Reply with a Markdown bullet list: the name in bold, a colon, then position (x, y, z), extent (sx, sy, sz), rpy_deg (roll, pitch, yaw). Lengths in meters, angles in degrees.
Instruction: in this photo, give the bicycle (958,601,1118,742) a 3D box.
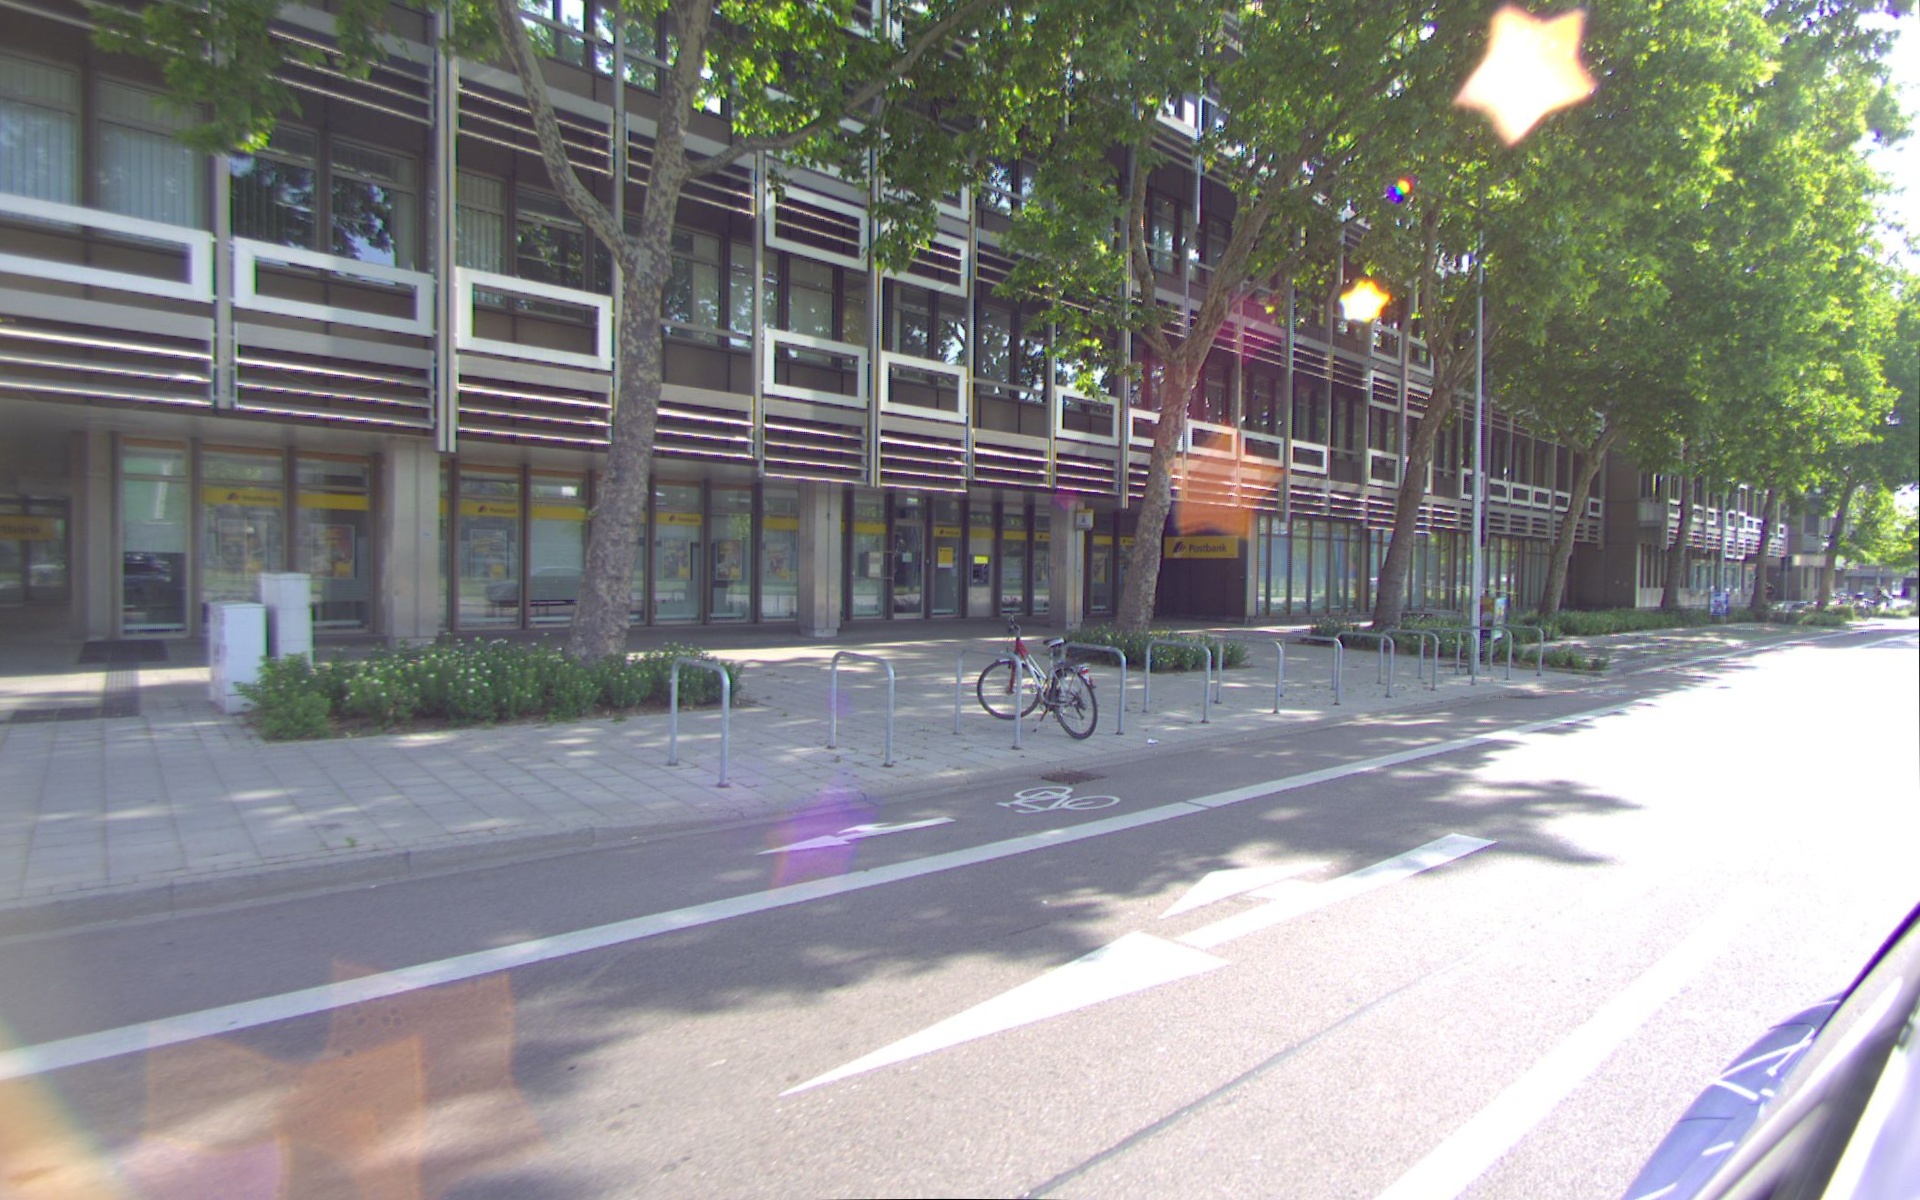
- **bicycle**: position (0.735, 0.656, 10.167), extent (0.527, 1.202, 1.834), rpy_deg (0, 3, -35)
